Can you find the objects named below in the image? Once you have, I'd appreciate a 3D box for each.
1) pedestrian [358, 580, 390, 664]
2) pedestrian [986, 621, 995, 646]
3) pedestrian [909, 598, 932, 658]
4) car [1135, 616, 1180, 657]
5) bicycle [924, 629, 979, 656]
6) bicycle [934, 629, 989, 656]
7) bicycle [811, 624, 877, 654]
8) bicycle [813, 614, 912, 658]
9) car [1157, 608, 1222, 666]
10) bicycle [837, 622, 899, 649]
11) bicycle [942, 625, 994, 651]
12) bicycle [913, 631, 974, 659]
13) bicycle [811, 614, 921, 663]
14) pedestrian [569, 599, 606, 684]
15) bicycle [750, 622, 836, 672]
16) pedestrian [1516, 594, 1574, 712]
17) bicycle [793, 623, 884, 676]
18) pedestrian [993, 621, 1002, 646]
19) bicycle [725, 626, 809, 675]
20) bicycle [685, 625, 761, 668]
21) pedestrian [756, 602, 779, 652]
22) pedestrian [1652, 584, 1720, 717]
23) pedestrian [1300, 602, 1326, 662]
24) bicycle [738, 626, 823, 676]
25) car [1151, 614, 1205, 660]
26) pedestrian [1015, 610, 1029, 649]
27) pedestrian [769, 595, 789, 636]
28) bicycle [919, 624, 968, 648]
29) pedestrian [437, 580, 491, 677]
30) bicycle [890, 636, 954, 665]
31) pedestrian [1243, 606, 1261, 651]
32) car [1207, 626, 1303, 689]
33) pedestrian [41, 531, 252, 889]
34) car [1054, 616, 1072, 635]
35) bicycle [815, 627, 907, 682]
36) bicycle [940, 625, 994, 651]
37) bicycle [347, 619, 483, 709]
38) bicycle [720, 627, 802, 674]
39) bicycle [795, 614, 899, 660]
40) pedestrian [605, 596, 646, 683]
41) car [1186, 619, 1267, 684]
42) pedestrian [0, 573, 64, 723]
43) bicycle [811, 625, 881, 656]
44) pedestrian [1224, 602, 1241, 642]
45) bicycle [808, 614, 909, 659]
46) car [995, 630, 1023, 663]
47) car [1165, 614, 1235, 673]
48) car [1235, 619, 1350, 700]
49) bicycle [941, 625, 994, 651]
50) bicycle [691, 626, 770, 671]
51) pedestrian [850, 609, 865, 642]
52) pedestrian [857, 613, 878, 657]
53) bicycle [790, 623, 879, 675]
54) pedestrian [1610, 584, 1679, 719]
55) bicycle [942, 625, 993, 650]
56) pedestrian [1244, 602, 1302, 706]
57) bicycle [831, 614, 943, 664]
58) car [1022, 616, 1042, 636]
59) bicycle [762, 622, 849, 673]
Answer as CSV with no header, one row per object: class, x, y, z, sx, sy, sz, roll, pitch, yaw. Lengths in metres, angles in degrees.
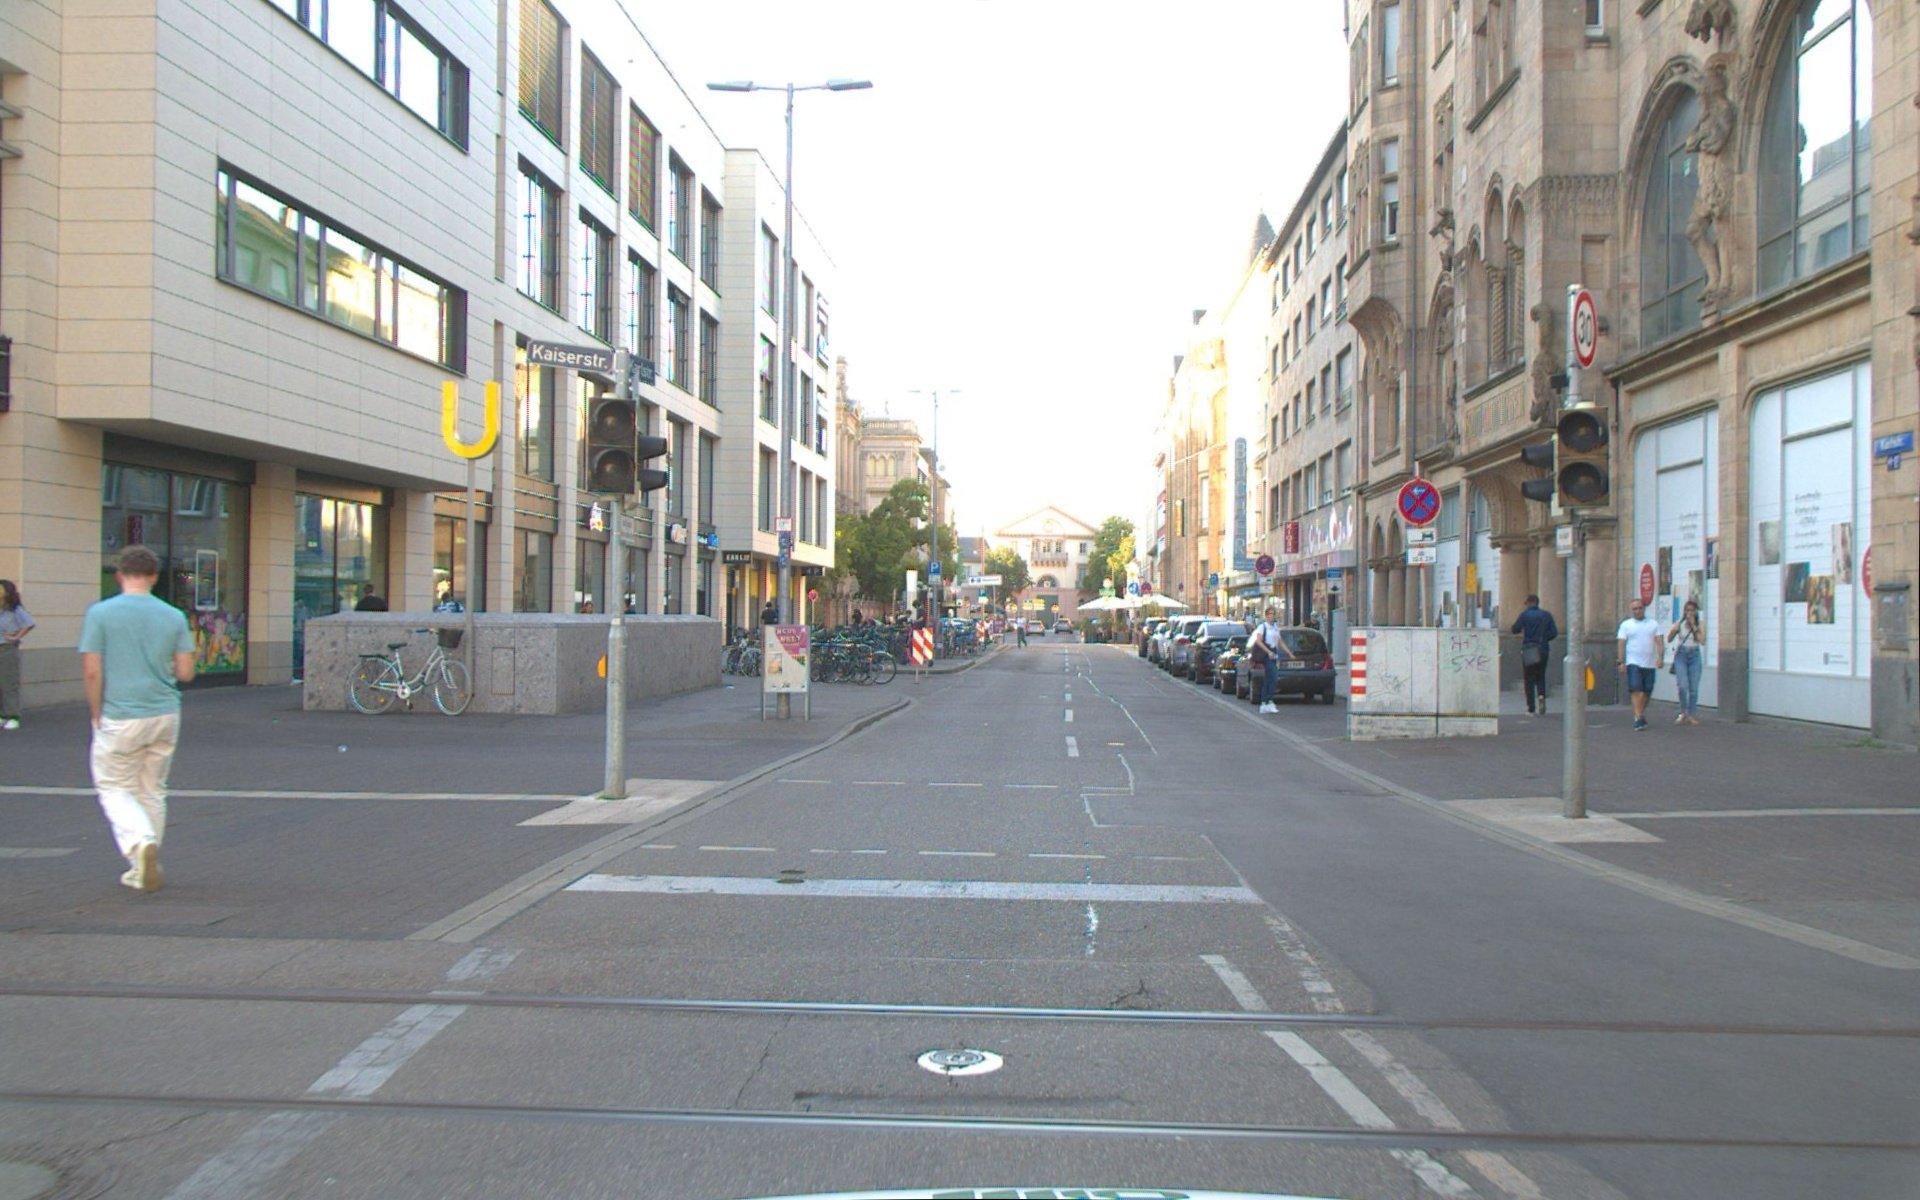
pedestrian,-10.749,0.401,30.321,0.382,1.541,0.506,0,-1,2
pedestrian,1.869,1.998,100.048,0.538,1.512,0.566,0,-1,1
pedestrian,-1.230,0.865,51.484,0.644,1.855,0.527,0,-1,-7
car,8.425,1.555,70.867,1.644,1.695,3.674,-1,-1,3
bicycle,-0.322,1.652,64.007,2.103,1.047,0.641,0,-1,5
bicycle,0.063,1.671,64.776,2.103,1.047,0.641,0,-1,5
bicycle,-3.791,1.285,54.142,2.103,0.970,0.641,0,-1,5
bicycle,-2.893,1.064,49.052,2.847,1.277,0.798,0,-1,-23
car,7.556,1.213,54.805,1.761,1.799,4.399,-1,-1,3
bicycle,-3.257,1.255,58.632,2.103,0.970,0.641,0,-1,5
bicycle,0.324,1.569,68.479,2.103,1.047,0.641,0,-1,5
bicycle,-0.591,1.589,58.517,2.103,0.970,0.641,0,-1,5
bicycle,-2.512,1.014,44.384,2.847,1.277,0.798,0,-1,-23
pedestrian,-7.513,0.837,33.379,0.587,1.675,0.546,1,-1,1
bicycle,-3.949,1.110,39.161,1.942,1.141,0.554,2,-1,-26
pedestrian,8.640,0.776,24.456,0.612,1.719,0.671,0,-1,2
bicycle,-2.706,1.111,36.869,1.942,1.141,0.554,2,-1,-26
pedestrian,2.233,2.014,99.166,0.538,1.512,0.566,0,-1,1
bicycle,-4.714,1.240,40.453,1.942,1.141,0.554,2,-1,-26
bicycle,-6.431,1.267,44.844,1.942,1.141,0.554,2,-1,-26
pedestrian,-6.444,0.907,55.315,0.665,1.649,0.574,0,-1,3
pedestrian,9.565,0.661,21.812,0.612,1.719,0.626,0,-1,2
pedestrian,10.230,0.925,47.929,0.630,1.719,0.671,0,-1,2
bicycle,-4.306,1.230,39.796,1.942,1.141,0.554,2,-1,-26
car,7.949,1.344,60.537,1.644,1.574,3.674,-1,-1,3
pedestrian,3.016,1.428,80.123,0.586,1.855,0.452,0,-1,12
pedestrian,-7.443,0.635,67.883,0.715,1.649,0.661,0,-1,3
bicycle,-0.710,1.597,72.660,2.103,1.047,0.641,0,-1,5
pedestrian,-9.264,0.528,30.918,0.766,1.782,0.600,1,-1,1
bicycle,-1.266,1.694,55.333,2.103,0.970,0.641,0,-1,5
pedestrian,11.816,1.146,66.987,0.630,1.831,0.671,0,-1,2
car,6.620,1.271,37.479,1.644,1.313,4.048,-1,-1,3
pedestrian,-4.297,0.564,8.804,0.852,1.792,0.764,2,-1,-19
car,11.306,2.811,181.772,1.952,1.937,4.001,1,-1,3
bicycle,-2.152,1.193,36.082,1.942,1.141,0.554,2,-1,-26
bicycle,0.282,1.545,66.673,2.103,1.047,0.641,0,-1,5
bicycle,-7.279,0.850,22.114,1.660,1.141,0.451,1,-1,6
bicycle,-4.994,1.260,41.566,1.942,1.141,0.554,2,-1,-26
bicycle,-3.181,1.027,46.617,2.847,1.277,0.798,0,-1,-23
pedestrian,-6.748,0.790,33.372,0.667,1.710,0.600,1,-1,1
car,6.817,1.295,42.586,1.644,1.574,3.674,-1,-1,3
pedestrian,-11.043,0.542,19.184,0.750,1.688,0.816,1,-1,17
bicycle,-3.603,1.266,52.326,2.103,0.970,0.641,0,-1,5
pedestrian,12.069,0.975,73.323,0.630,1.777,0.671,0,-1,2
bicycle,-2.940,1.051,48.079,2.847,1.277,0.798,0,-1,-23
car,3.130,2.965,105.529,1.675,2.049,4.001,0,-1,3
car,7.040,1.250,48.848,1.644,1.641,4.029,-1,-1,3
car,6.360,1.113,31.957,1.644,1.449,3.674,-1,-1,3
bicycle,0.317,1.556,67.442,2.103,1.047,0.641,0,-1,5
bicycle,-5.913,1.252,42.671,1.942,1.141,0.554,2,-1,-26
pedestrian,-5.141,1.278,82.884,0.665,1.649,0.574,0,-1,3
pedestrian,-3.314,1.263,59.286,0.735,1.556,0.485,0,-1,3
bicycle,-2.855,1.116,37.597,1.942,1.141,0.554,2,-1,-26
pedestrian,8.864,0.667,21.450,0.612,1.719,0.671,0,-1,2
bicycle,0.313,1.578,69.207,2.103,1.047,0.641,0,-1,5
pedestrian,5.339,0.913,28.243,0.818,1.751,0.681,0,-1,-4
bicycle,-1.899,1.015,43.261,2.847,1.277,0.798,0,-1,-23
car,7.093,2.582,162.813,1.952,1.937,4.001,1,-1,3
bicycle,-3.592,1.110,38.497,1.942,1.141,0.554,2,-1,-26
